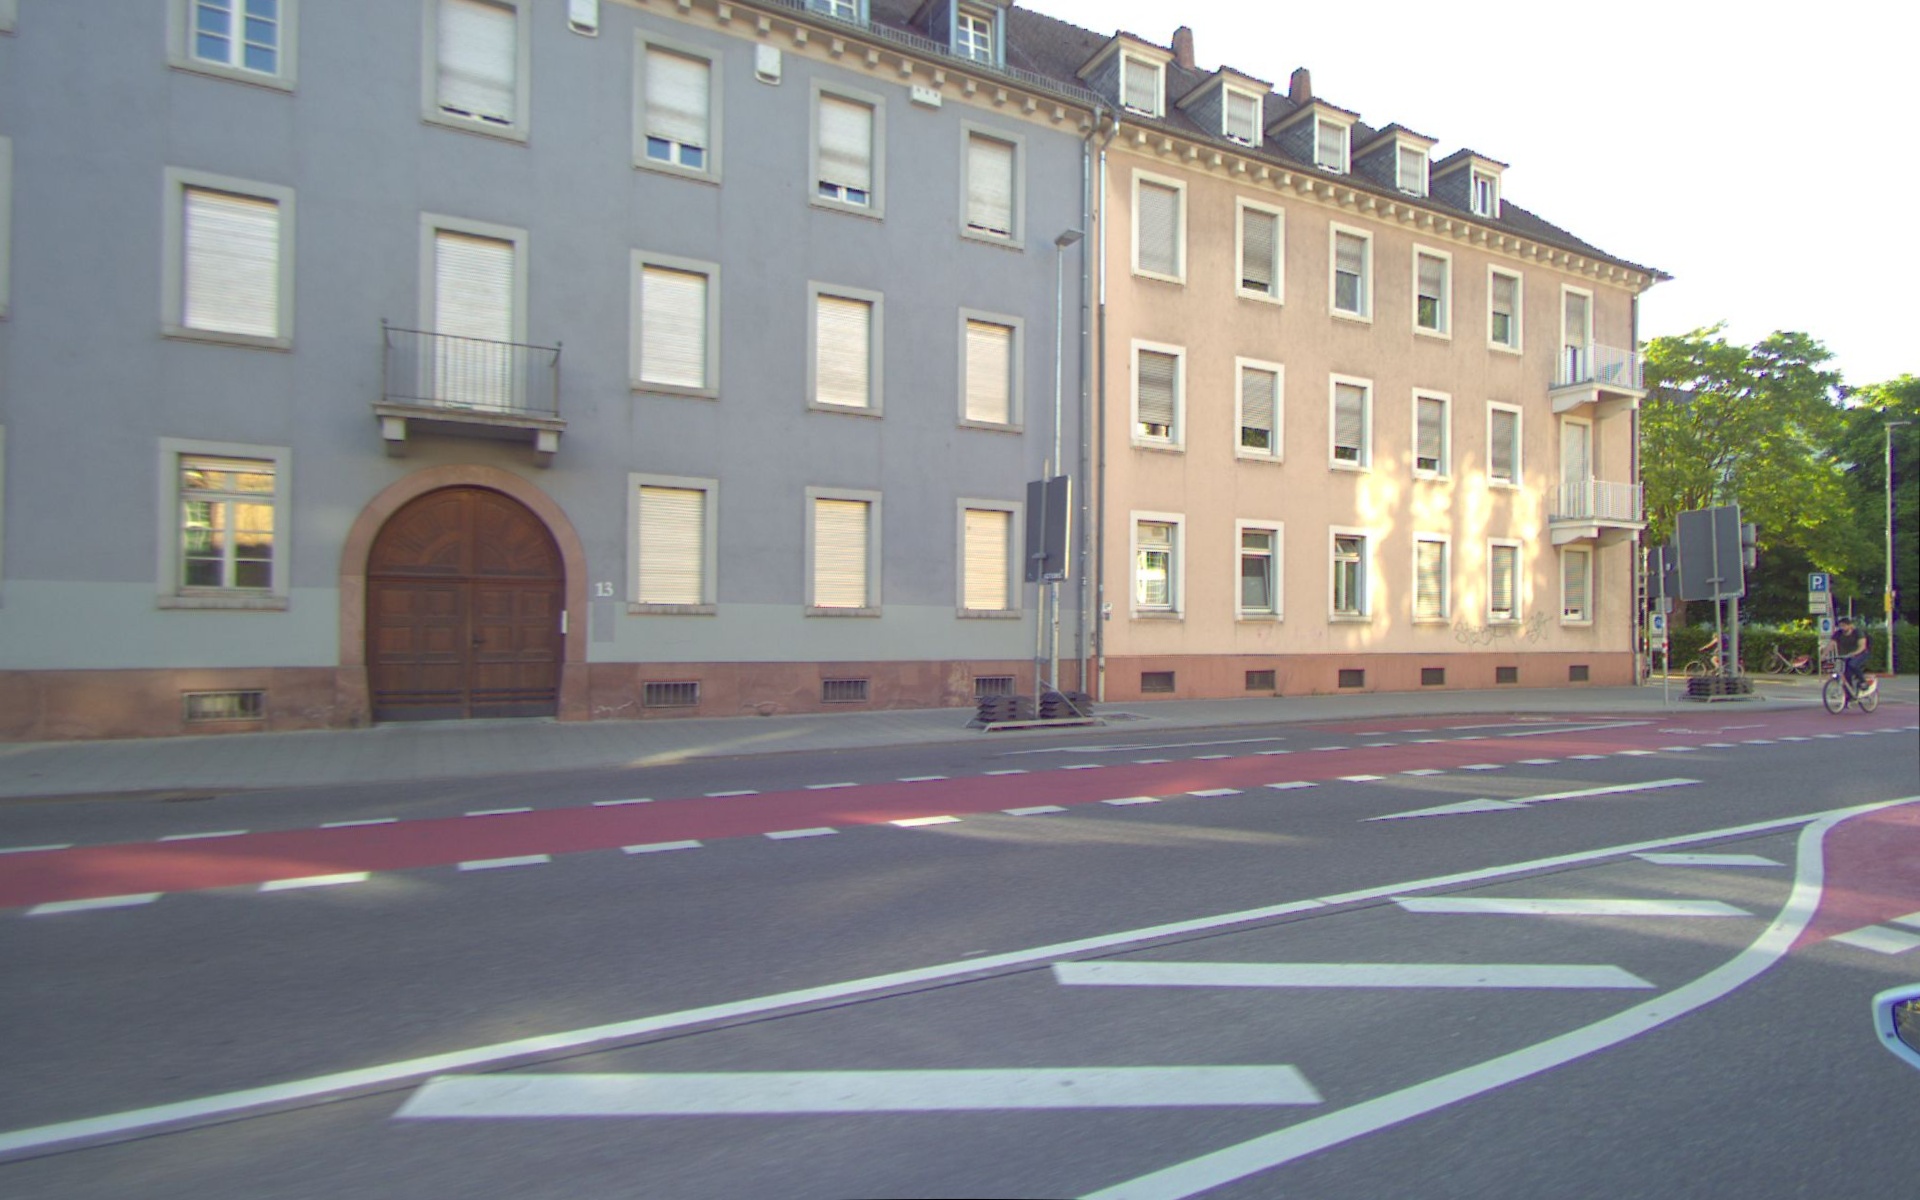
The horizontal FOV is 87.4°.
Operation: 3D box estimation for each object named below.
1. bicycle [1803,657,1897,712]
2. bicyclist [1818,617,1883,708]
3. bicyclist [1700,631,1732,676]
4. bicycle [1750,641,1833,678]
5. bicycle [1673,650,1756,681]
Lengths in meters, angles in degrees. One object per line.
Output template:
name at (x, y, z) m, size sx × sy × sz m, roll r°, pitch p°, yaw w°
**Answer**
bicycle at (17.268, 1.623, 19.486) m, size 2.082 × 1.008 × 0.644 m, roll 1°, pitch -3°, yaw -27°
bicyclist at (17.343, 1.209, 19.571) m, size 0.729 × 1.732 × 0.633 m, roll 1°, pitch -4°, yaw -27°
bicyclist at (25.213, 1.786, 33.495) m, size 0.733 × 1.504 × 0.658 m, roll 2°, pitch -3°, yaw -37°
bicycle at (29.756, 2.105, 35.987) m, size 0.552 × 1.246 × 2.316 m, roll 1°, pitch -2°, yaw -22°
bicycle at (25.175, 2.184, 33.534) m, size 0.733 × 1.008 × 2.088 m, roll 2°, pitch -4°, yaw -36°
